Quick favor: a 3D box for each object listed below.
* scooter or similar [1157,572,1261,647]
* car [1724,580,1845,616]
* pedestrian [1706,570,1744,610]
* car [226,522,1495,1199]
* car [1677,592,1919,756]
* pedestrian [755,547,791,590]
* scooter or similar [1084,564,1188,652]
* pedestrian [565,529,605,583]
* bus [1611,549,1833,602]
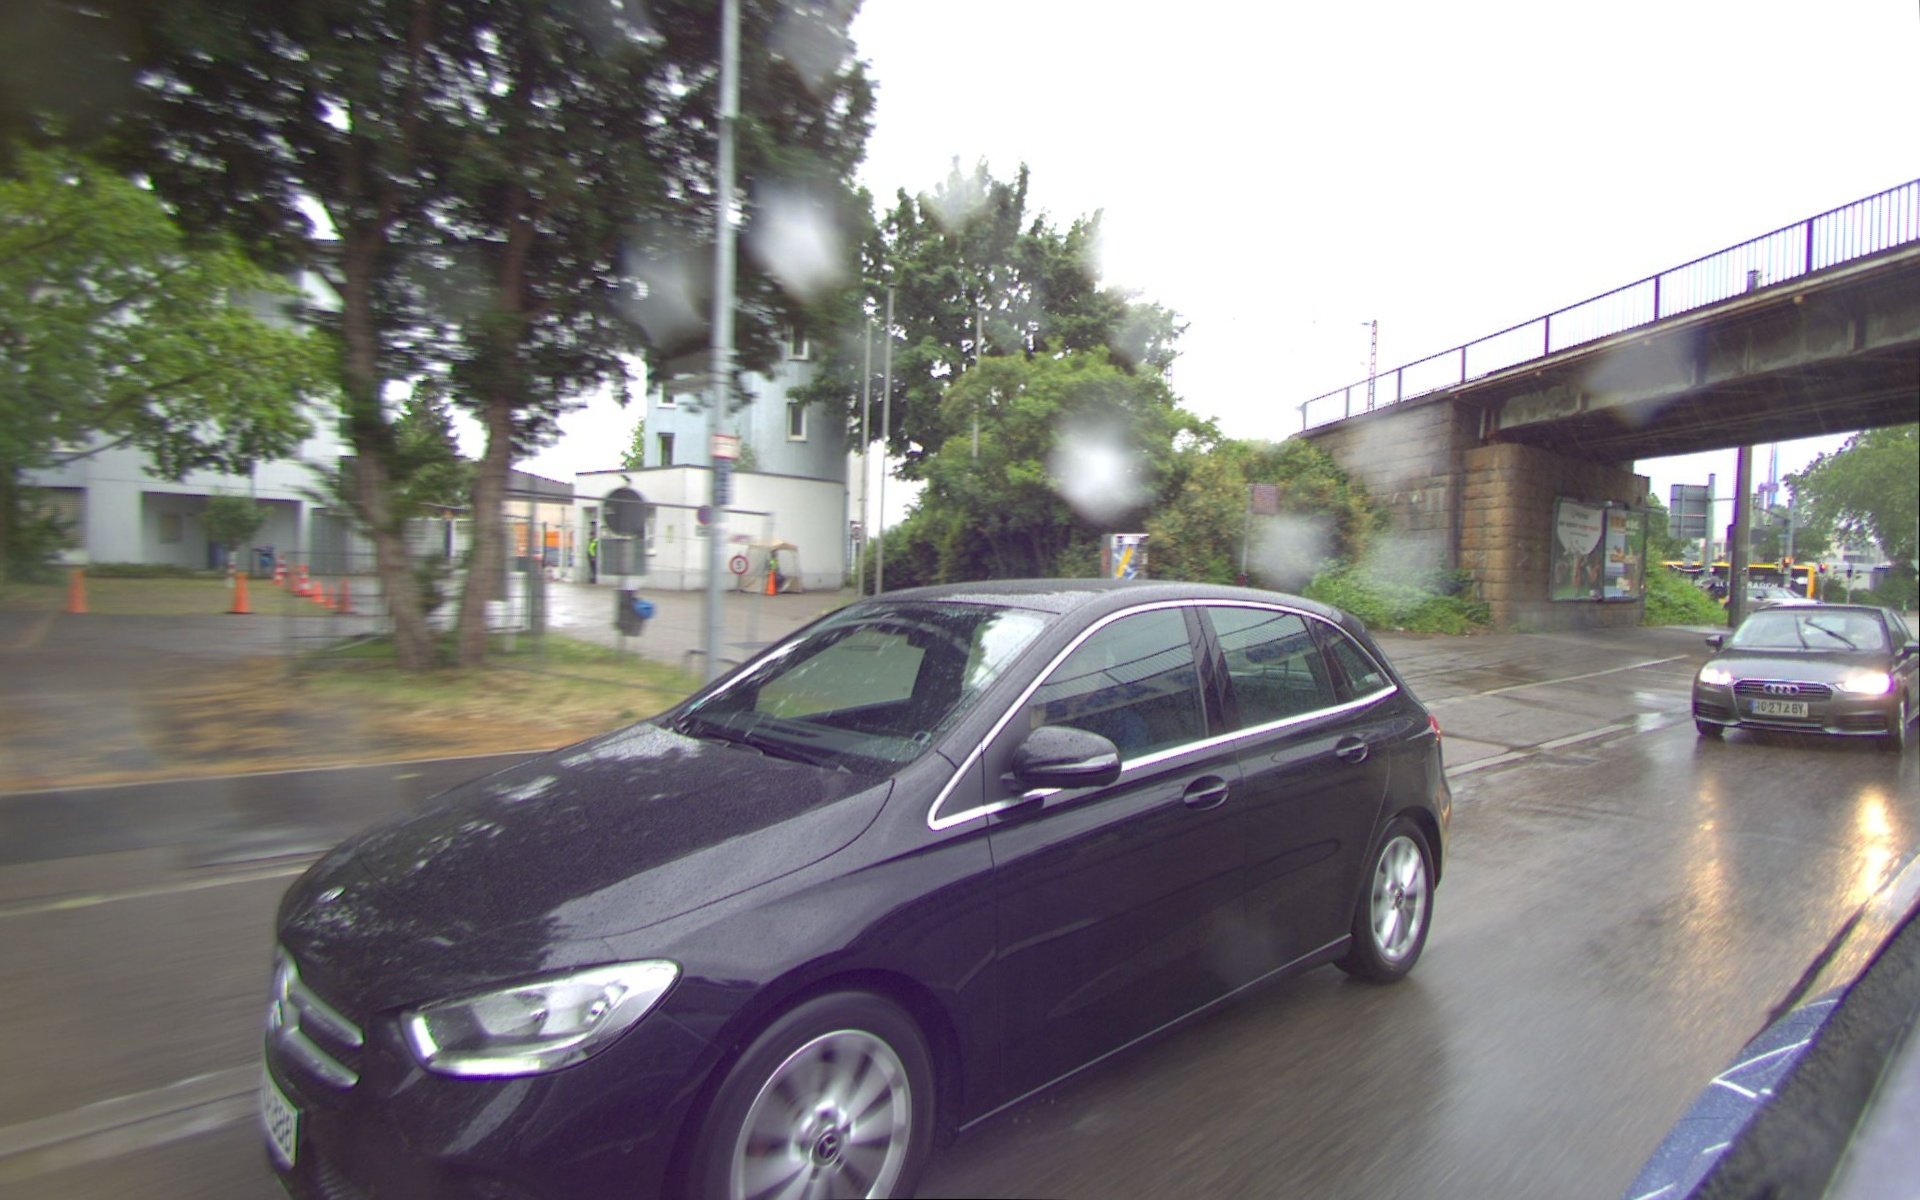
[{"bbox_3d":[4.292,0.161,17.453,1.515,1.192,0.775,1,4,-23],"label":"scooter or similar"},{"bbox_3d":[36.627,-0.114,45.116,1.861,1.365,4.006,1,3,-4],"label":"car"},{"bbox_3d":[33.489,-0.446,44.331,0.984,1.740,0.822,1,2,-13],"label":"pedestrian"},{"bbox_3d":[0.010,0.593,3.499,4.015,1.542,1.874,-1,3,-41],"label":"car"},{"bbox_3d":[9.506,0.652,11.036,3.686,1.415,1.840,-1,2,-39],"label":"car"},{"bbox_3d":[-5.799,-0.983,31.369,0.856,1.311,0.696,3,3,40],"label":"pedestrian"},{"bbox_3d":[2.867,0.117,16.640,1.528,1.325,0.711,1,6,0],"label":"scooter or similar"},{"bbox_3d":[-12.354,-1.446,33.316,0.927,1.757,0.912,4,3,43],"label":"pedestrian"},{"bbox_3d":[53.387,-1.839,71.424,12.232,3.308,3.229,3,3,39],"label":"bus"}]
